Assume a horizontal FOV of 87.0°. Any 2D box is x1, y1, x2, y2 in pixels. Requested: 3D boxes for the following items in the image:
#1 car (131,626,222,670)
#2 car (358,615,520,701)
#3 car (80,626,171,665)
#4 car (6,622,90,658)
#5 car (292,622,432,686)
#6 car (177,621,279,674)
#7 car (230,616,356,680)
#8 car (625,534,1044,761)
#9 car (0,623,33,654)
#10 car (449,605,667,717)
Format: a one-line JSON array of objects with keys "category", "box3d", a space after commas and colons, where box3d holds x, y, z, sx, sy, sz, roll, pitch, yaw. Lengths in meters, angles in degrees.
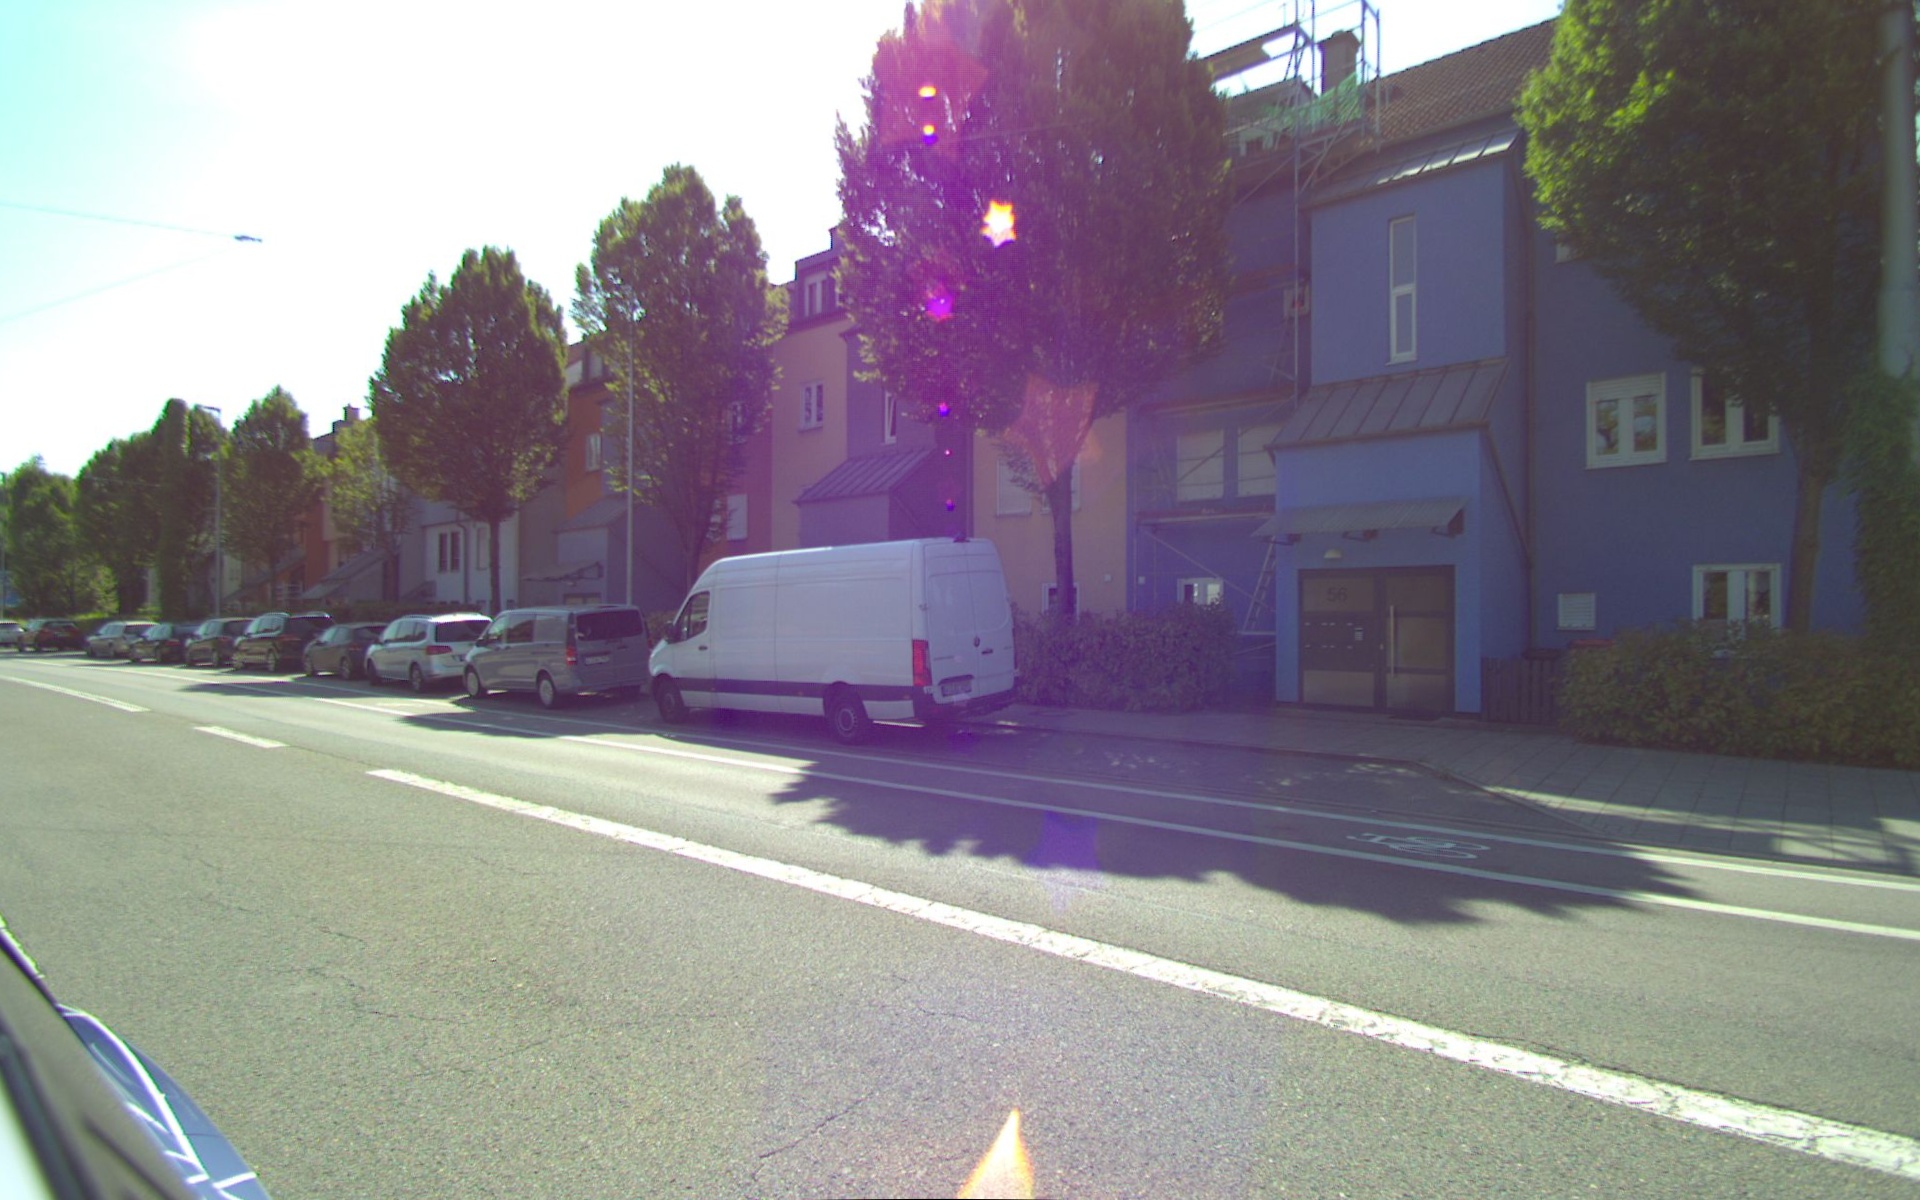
[{"category": "car", "box3d": [-29.046, 1.735, 37.467, 4.207, 1.481, 1.661, -1, 0, 38]}, {"category": "car", "box3d": [-12.348, 1.275, 23.866, 4.539, 1.715, 1.829, -1, 2, 42]}, {"category": "car", "box3d": [-34.405, 1.832, 41.697, 4.826, 1.457, 1.663, -1, 0, 35]}, {"category": "car", "box3d": [-43.571, 1.876, 48.322, 4.920, 1.588, 1.889, -1, 0, 35]}, {"category": "car", "box3d": [-16.198, 1.394, 27.361, 4.069, 1.466, 1.849, -1, 2, 37]}, {"category": "car", "box3d": [-24.578, 1.551, 33.932, 4.159, 1.619, 1.661, -1, 0, 37]}, {"category": "car", "box3d": [-20.119, 1.376, 30.471, 4.343, 1.741, 1.812, -1, 1, 37]}, {"category": "car", "box3d": [-2.207, 0.584, 15.139, 7.084, 2.697, 1.973, -1, 1, 42]}, {"category": "car", "box3d": [-50.221, 1.995, 52.703, 4.123, 1.510, 2.017, -1, 0, 35]}, {"category": "car", "box3d": [-8.250, 1.139, 20.526, 4.964, 1.879, 1.973, -1, 2, 41]}]
